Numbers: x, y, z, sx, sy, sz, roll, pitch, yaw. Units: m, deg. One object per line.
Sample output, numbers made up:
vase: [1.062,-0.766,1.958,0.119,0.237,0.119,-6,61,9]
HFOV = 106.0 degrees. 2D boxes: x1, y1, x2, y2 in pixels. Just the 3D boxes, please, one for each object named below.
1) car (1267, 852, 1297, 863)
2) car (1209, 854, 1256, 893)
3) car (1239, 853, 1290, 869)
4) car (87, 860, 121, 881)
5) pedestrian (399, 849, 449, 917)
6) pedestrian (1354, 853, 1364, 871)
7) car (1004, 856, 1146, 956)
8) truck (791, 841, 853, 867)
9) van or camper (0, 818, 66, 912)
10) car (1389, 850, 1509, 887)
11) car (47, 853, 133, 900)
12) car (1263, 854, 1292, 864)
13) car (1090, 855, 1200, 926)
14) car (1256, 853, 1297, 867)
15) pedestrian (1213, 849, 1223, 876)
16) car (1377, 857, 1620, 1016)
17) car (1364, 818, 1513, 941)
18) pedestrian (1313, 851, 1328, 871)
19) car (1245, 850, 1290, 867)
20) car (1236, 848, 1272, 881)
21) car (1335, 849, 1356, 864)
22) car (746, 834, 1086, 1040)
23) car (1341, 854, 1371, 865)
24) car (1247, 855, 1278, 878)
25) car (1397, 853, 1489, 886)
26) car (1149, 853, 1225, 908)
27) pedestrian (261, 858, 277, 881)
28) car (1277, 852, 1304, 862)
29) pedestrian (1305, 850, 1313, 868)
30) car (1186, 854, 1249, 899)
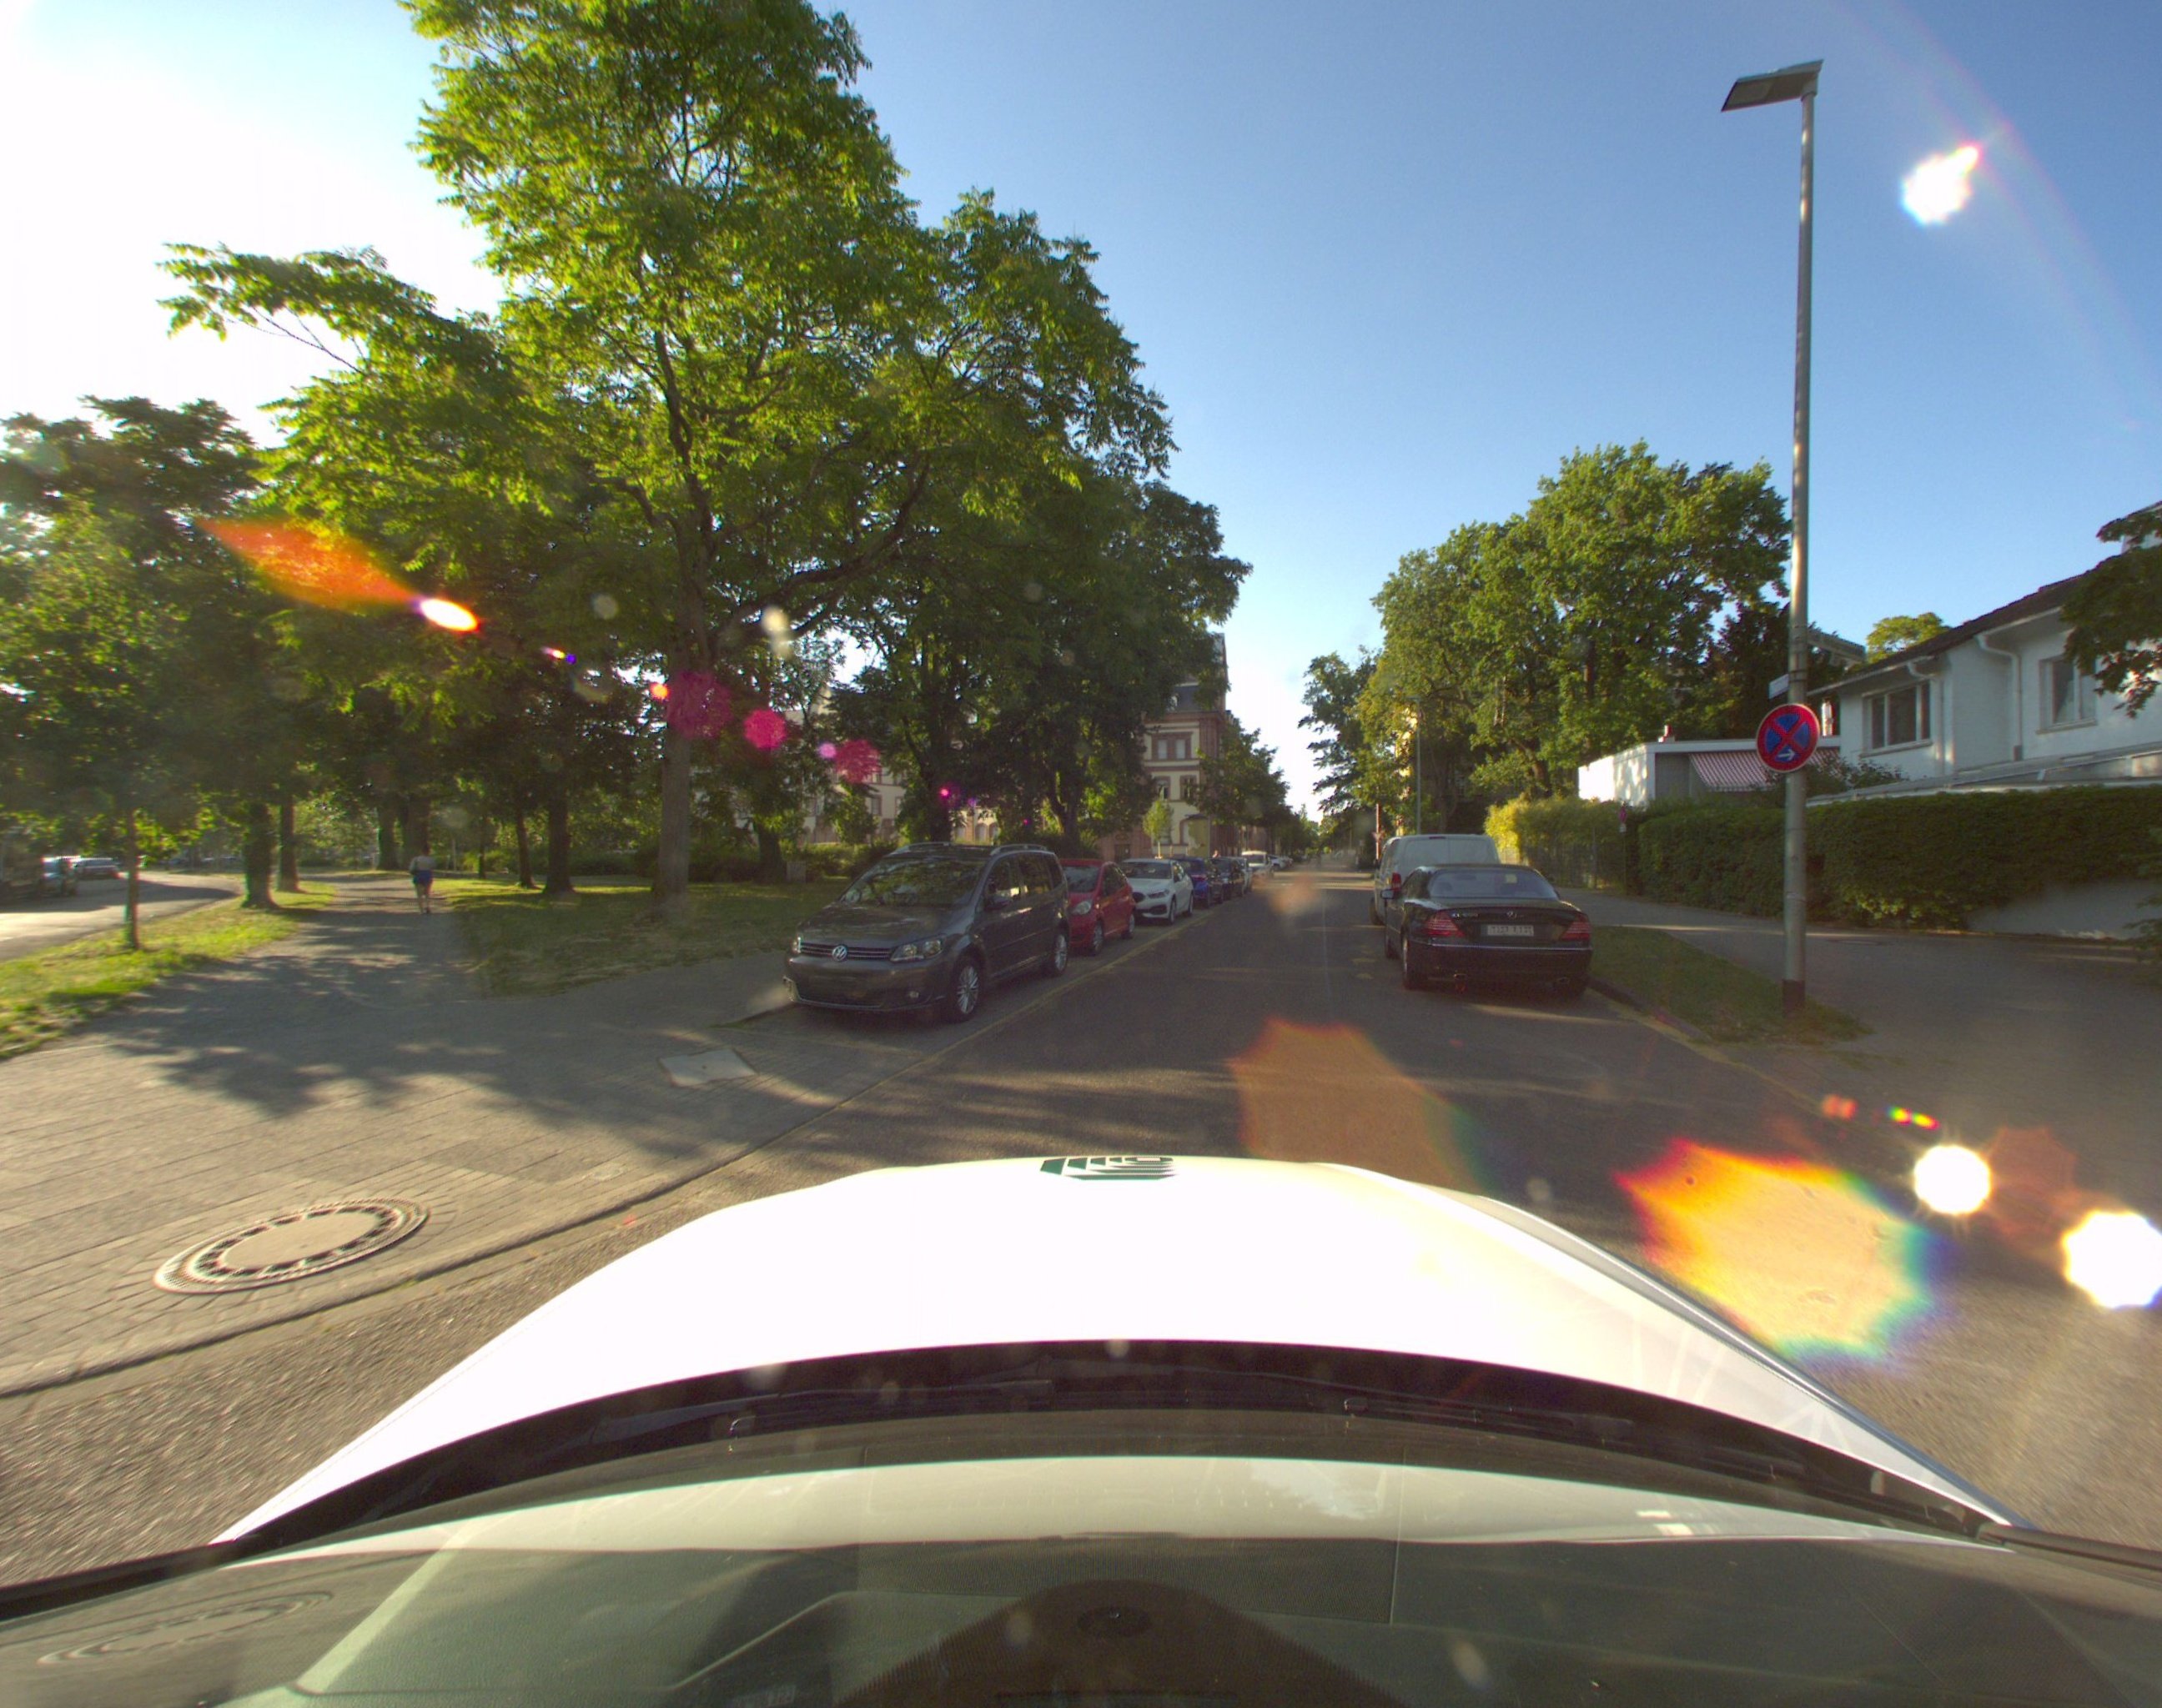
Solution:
car: [30.814,0.547,124.865,4.450,1.608,1.849,0,0,14]
car: [6.472,0.788,34.574,1.580,1.526,3.881,0,0,16]
car: [18.069,0.683,80.226,4.807,1.594,1.849,0,0,14]
car: [-69.437,1.158,57.880,3.362,1.446,1.525,0,0,39]
pedestrian: [-15.556,0.670,19.297,0.778,1.574,0.761,-1,0,-28]
pedestrian: [24.803,0.687,72.642,0.780,1.606,0.722,0,-2,11]
car: [0.027,0.769,13.860,1.376,1.423,3.442,2,1,18]
truck: [-31.328,0.042,98.367,7.906,3.029,2.629,0,0,32]
van or camper: [-36.428,0.346,27.140,2.108,2.908,6.257,0,0,-41]
car: [16.007,0.652,35.712,4.552,1.415,1.931,-2,-2,18]
car: [-42.798,0.926,35.246,1.868,1.885,4.093,0,0,-44]
car: [31.322,0.799,129.756,4.450,1.608,1.849,0,0,14]
car: [1.619,0.767,19.132,1.677,1.406,3.993,2,1,18]
car: [22.207,0.668,92.326,4.450,1.608,1.849,0,0,14]
pedestrian: [9.091,0.545,54.074,0.595,1.784,0.950,0,0,13]
car: [4.843,0.782,10.201,1.752,1.468,4.885,0,0,15]
car: [6.776,0.415,16.006,1.938,2.013,5.174,0,0,15]
pedestrian: [23.109,0.652,78.602,1.062,1.858,0.997,0,0,-15]
car: [19.411,0.499,84.698,4.450,1.717,1.849,0,0,14]
car: [10.288,0.598,48.146,1.767,1.841,4.572,0,0,16]
car: [64.456,0.601,198.616,4.849,3.617,1.850,0,0,16]
car: [-1.470,0.682,9.117,1.787,1.675,4.340,2,1,18]
car: [43.252,0.841,128.220,4.450,1.608,1.849,0,0,14]
car: [12.468,0.801,55.774,1.767,1.505,4.573,0,0,17]
car: [16.861,0.715,38.087,3.655,1.524,1.798,0,0,13]
car: [3.301,0.750,24.811,1.625,1.495,3.722,2,1,18]
pedestrian: [-57.177,1.069,57.370,0.662,1.597,0.640,0,0,29]
car: [35.818,0.498,139.034,4.450,1.608,1.849,0,0,14]
pedestrian: [24.779,0.534,88.546,0.712,1.962,0.791,-1,-2,20]
car: [5.029,0.772,29.580,1.538,1.494,3.962,0,0,20]
